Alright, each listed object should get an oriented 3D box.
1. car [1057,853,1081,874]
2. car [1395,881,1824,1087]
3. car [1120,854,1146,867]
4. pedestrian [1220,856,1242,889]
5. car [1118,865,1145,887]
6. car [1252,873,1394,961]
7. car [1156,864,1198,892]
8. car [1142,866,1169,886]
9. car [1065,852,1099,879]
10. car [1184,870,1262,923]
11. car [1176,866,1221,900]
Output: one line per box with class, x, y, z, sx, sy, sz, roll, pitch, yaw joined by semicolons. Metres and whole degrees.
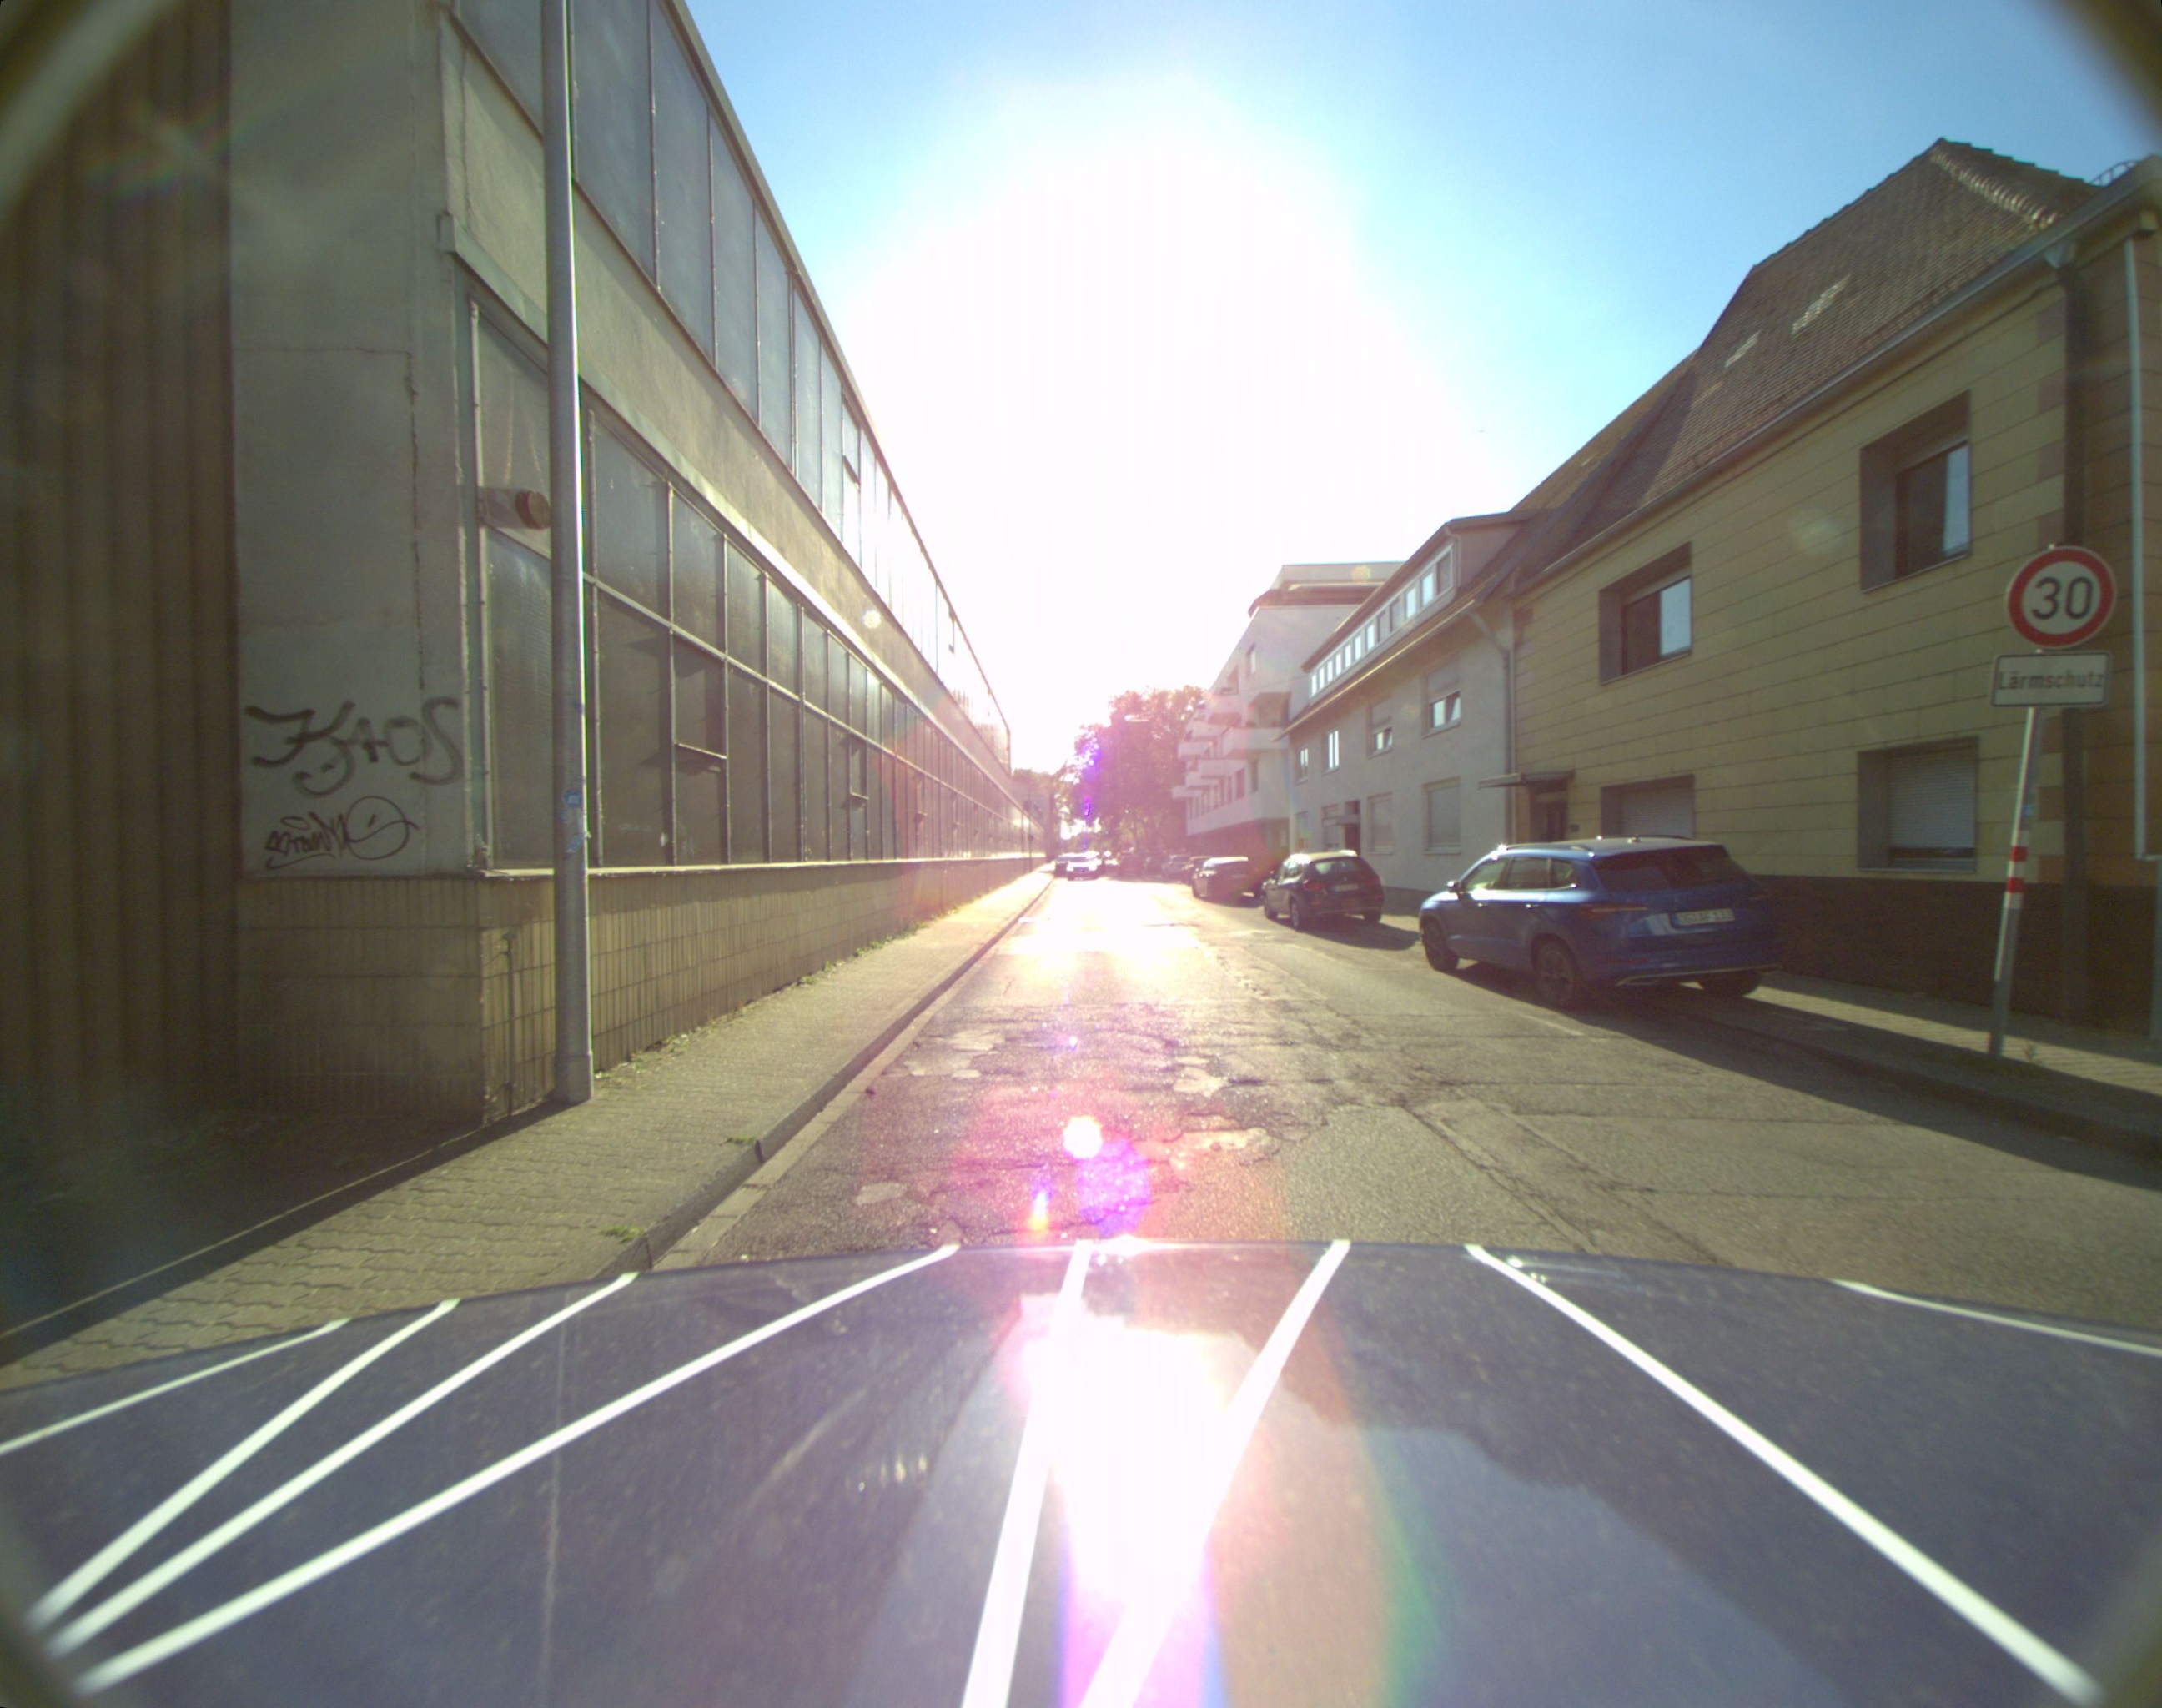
car;-1.033;0.762;62.261;1.812;1.578;4.403;-3;1;-2
car;5.313;1.168;8.485;1.813;1.577;4.193;-3;-1;0
car;8.595;1.054;126.011;4.005;1.875;1.713;-2;1;-27
pedestrian;8.477;1.036;42.822;0.862;1.808;1.133;-4;0;24
car;3.700;1.582;56.118;1.846;1.482;4.144;1;0;2
car;5.304;1.312;17.297;1.862;1.577;4.336;-3;-1;1
car;6.274;1.521;50.011;1.863;1.578;4.619;-3;1;-3
car;6.017;1.740;61.583;1.679;1.425;3.769;-3;1;-1
car;0.022;0.697;48.157;1.855;1.527;3.855;-3;1;-3
car;5.012;1.448;27.356;1.689;1.526;4.333;-3;1;-3
car;6.207;1.515;40.477;1.672;1.527;3.856;-3;1;-1
